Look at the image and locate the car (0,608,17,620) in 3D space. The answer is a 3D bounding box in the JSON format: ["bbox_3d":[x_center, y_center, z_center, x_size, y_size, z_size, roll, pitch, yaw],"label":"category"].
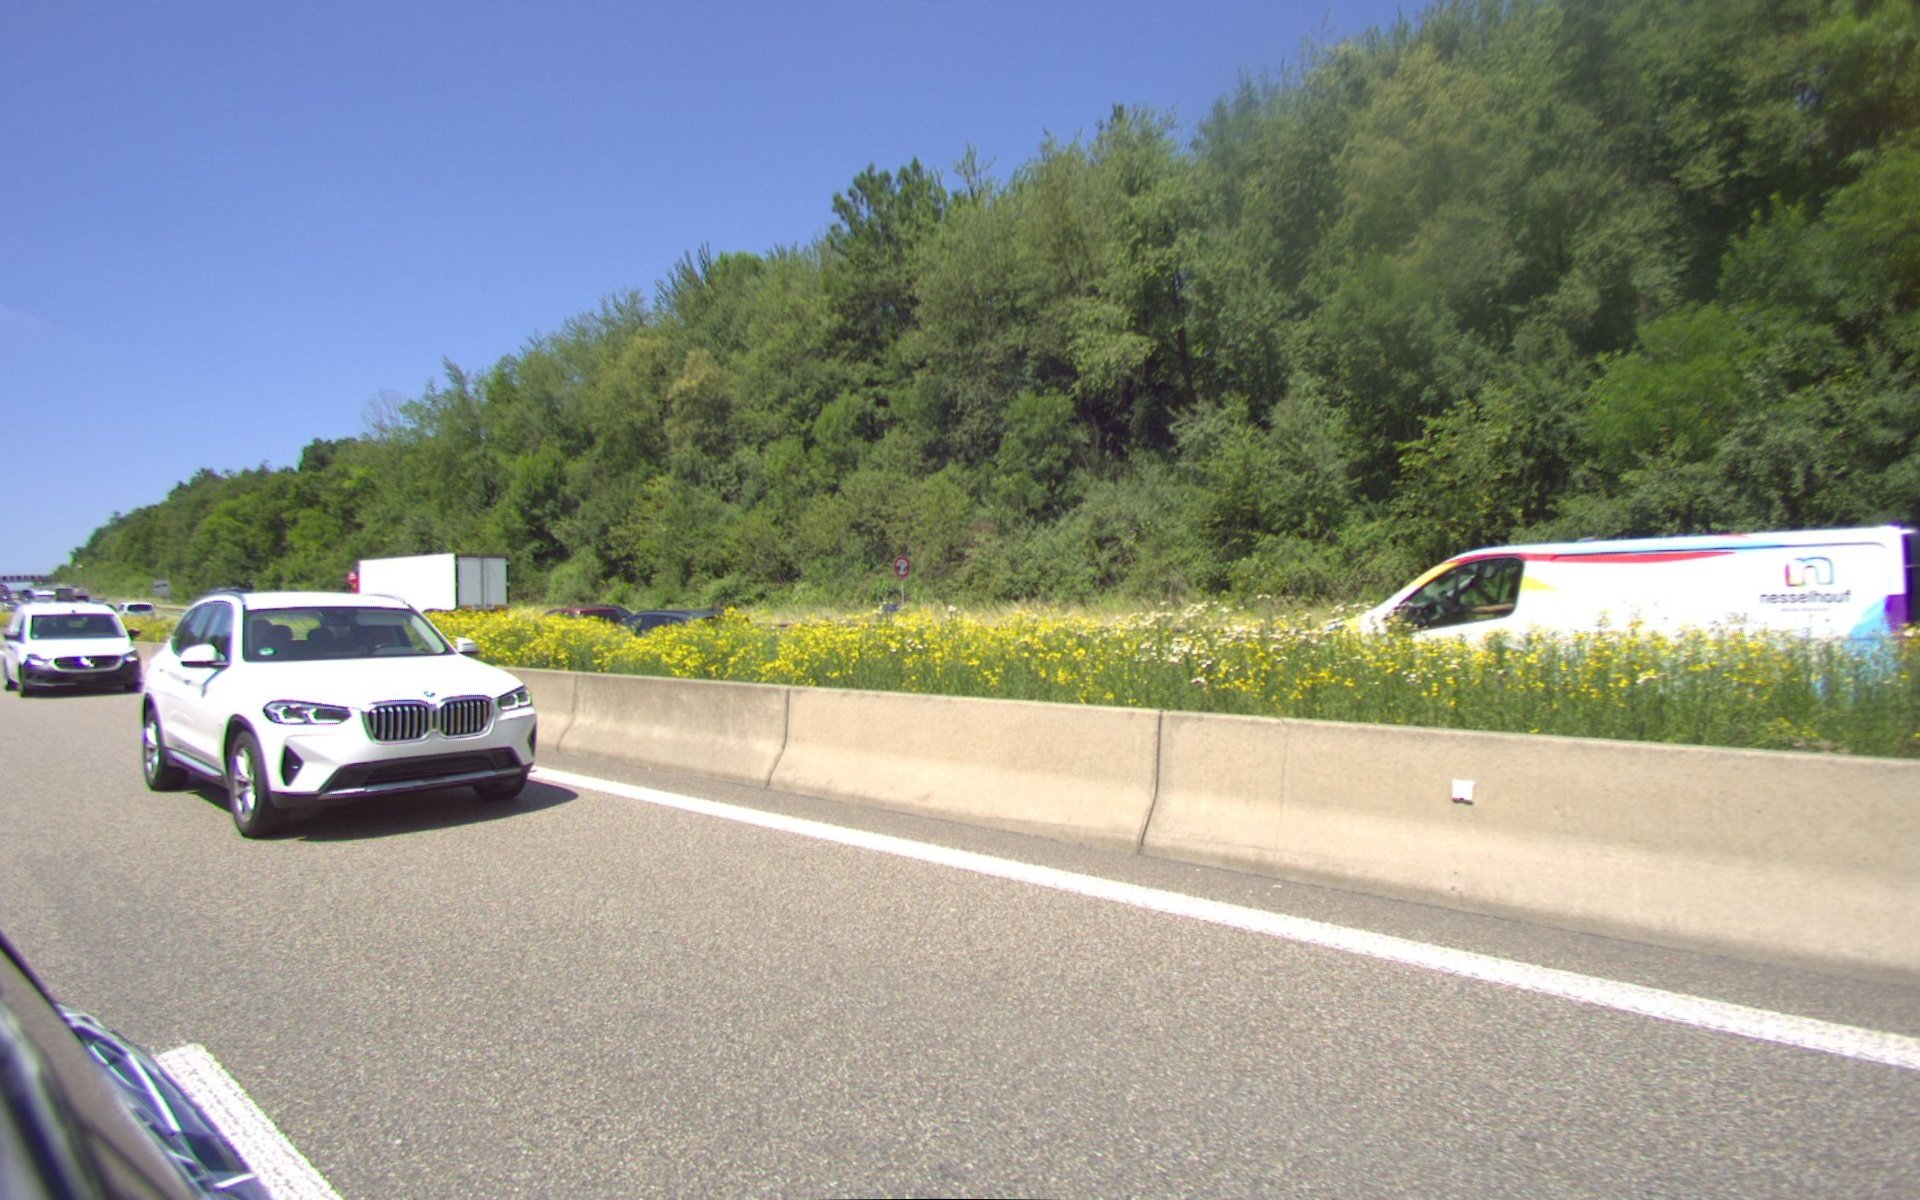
[{"bbox_3d":[-135.291,1.960,143.359,4.146,1.698,2.131,-1,0,41],"label":"car"}]

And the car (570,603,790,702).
[{"bbox_3d":[-5.136,0.866,18.328,3.998,1.564,1.973,-1,0,41],"label":"car"}]

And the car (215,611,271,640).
[{"bbox_3d":[-36.415,1.275,51.361,3.358,1.394,1.581,-1,0,41],"label":"car"}]

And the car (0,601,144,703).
[{"bbox_3d":[-18.209,1.000,20.541,4.671,1.826,1.747,-2,-1,41],"label":"car"}]

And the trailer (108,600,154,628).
[{"bbox_3d":[-61.260,1.006,74.777,3.998,2.029,1.973,-1,0,41],"label":"trailer"}]

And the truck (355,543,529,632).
[{"bbox_3d":[-27.978,-0.576,54.149,13.790,4.226,3.670,-1,0,42],"label":"truck"}]

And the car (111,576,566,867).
[{"bbox_3d":[-5.320,0.766,8.312,4.954,1.707,1.844,-2,-1,42],"label":"car"}]

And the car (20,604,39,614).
[{"bbox_3d":[-161.362,1.487,175.424,4.146,1.698,1.992,-1,0,41],"label":"car"}]

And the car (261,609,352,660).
[{"bbox_3d":[-20.845,1.054,32.243,3.358,1.520,1.581,-1,0,41],"label":"car"}]

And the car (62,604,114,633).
[{"bbox_3d":[-54.047,1.131,62.684,3.998,1.680,1.898,-1,0,41],"label":"car"}]

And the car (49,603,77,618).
[{"bbox_3d":[-102.463,1.180,115.601,3.998,1.698,1.973,-1,0,41],"label":"car"}]

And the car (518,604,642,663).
[{"bbox_3d":[-10.287,0.891,27.321,3.505,1.492,1.598,-2,-1,40],"label":"car"}]

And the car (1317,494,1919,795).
[{"bbox_3d":[5.853,0.306,8.662,4.898,2.029,1.973,-1,0,41],"label":"car"}]

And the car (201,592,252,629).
[{"bbox_3d":[-49.776,0.719,68.664,3.998,2.448,1.973,-1,0,41],"label":"car"}]

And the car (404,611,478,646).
[{"bbox_3d":[-22.215,1.202,43.282,3.505,1.399,1.598,-2,-1,40],"label":"car"}]

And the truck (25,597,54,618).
[{"bbox_3d":[-140.923,1.209,154.884,7.782,3.143,2.511,-1,0,41],"label":"truck"}]

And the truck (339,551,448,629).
[{"bbox_3d":[-32.735,-0.526,58.420,6.283,4.226,3.670,-1,0,42],"label":"truck"}]

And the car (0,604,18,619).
[{"bbox_3d":[-111.470,1.368,118.080,3.998,1.698,1.973,-1,0,41],"label":"car"}]
